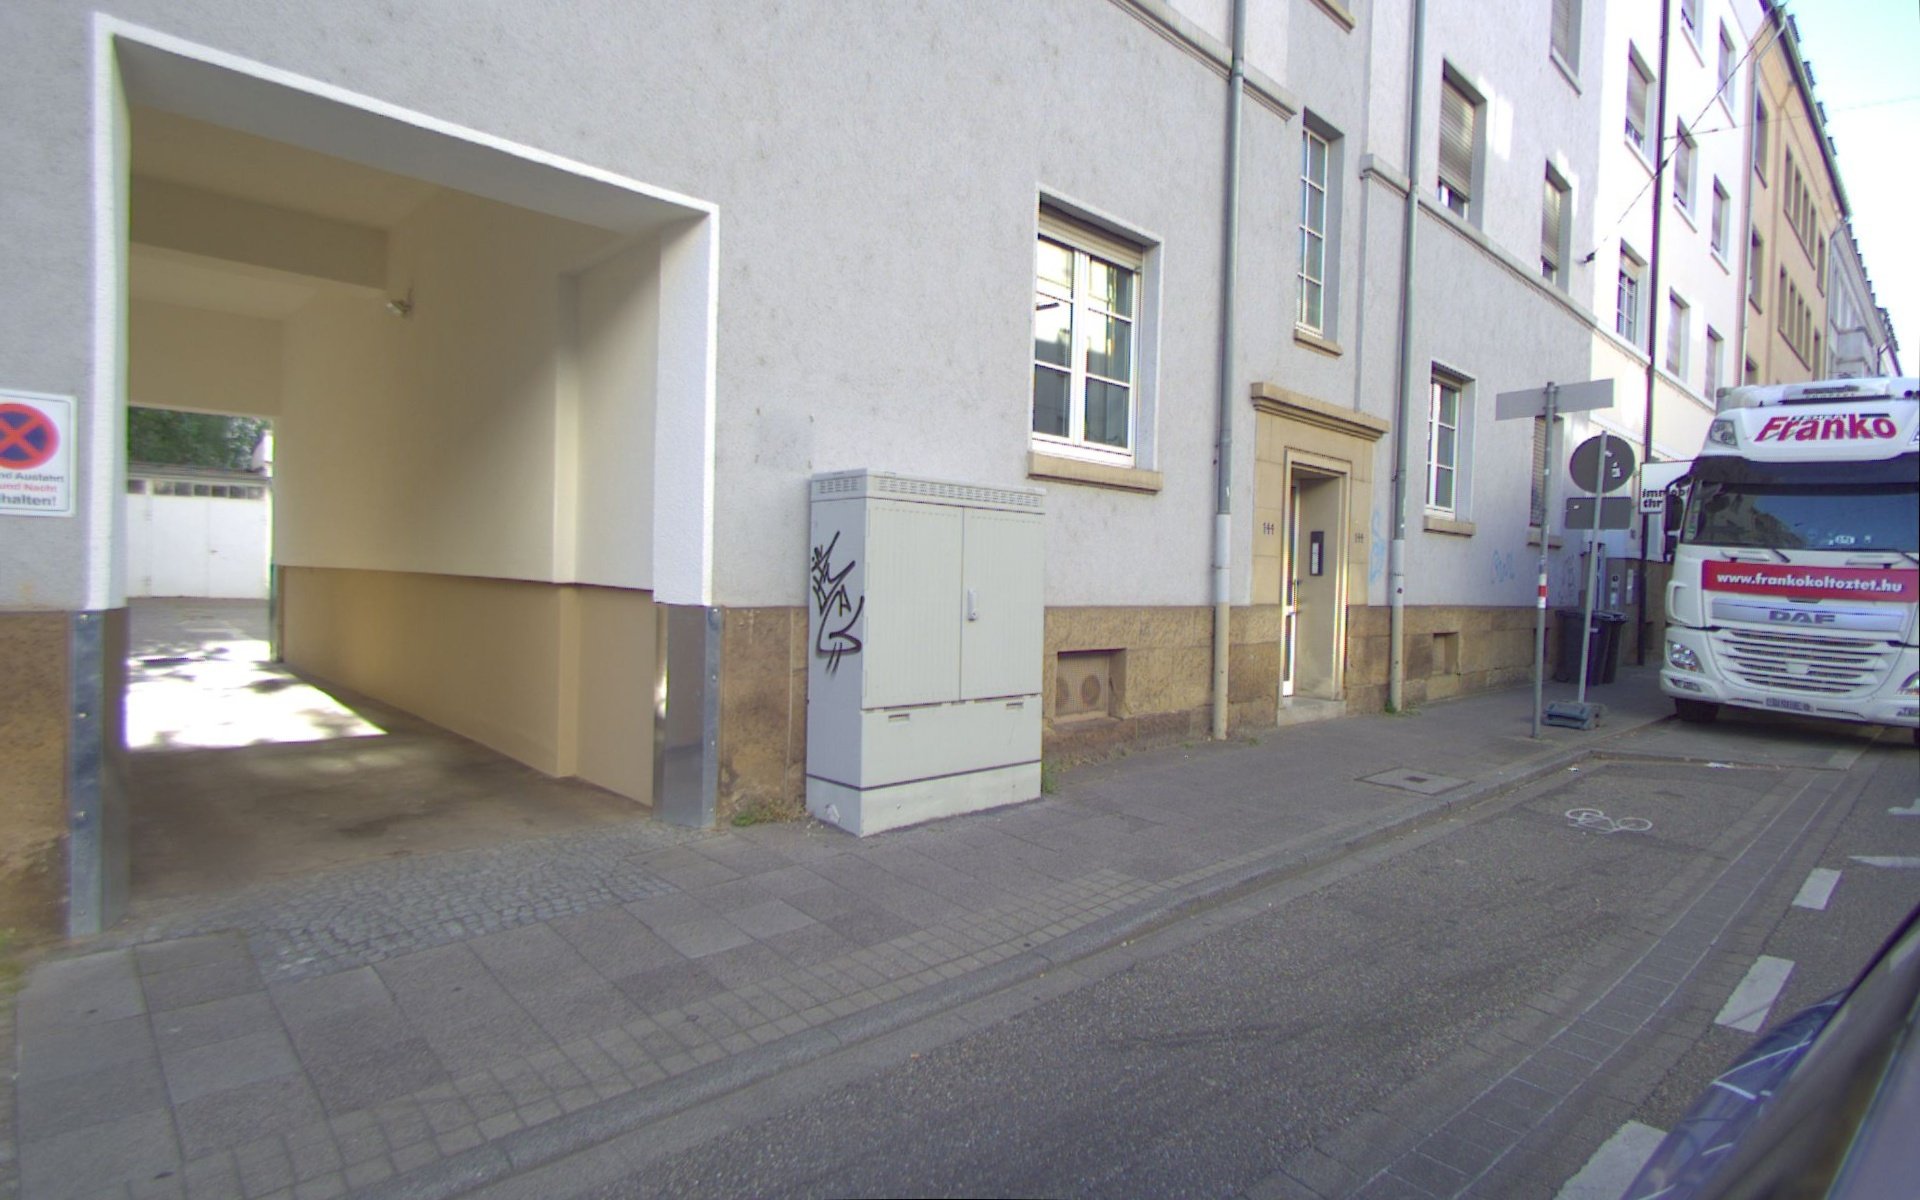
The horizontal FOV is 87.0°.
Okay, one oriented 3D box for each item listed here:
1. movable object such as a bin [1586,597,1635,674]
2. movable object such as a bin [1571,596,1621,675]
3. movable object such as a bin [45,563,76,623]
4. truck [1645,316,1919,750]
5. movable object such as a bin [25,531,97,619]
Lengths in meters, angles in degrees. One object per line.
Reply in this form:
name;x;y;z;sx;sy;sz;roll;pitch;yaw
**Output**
movable object such as a bin;9.593;0.506;14.930;0.511;1.106;0.488;0;0;45
movable object such as a bin;9.160;0.504;14.574;0.511;1.106;0.488;0;0;45
movable object such as a bin;-14.403;-0.116;16.206;0.366;0.919;0.420;0;3;-44
truck;12.548;-0.613;13.854;11.511;4.012;2.894;0;0;-44
movable object such as a bin;-14.903;-0.421;16.773;0.874;1.409;0.758;0;4;-44
